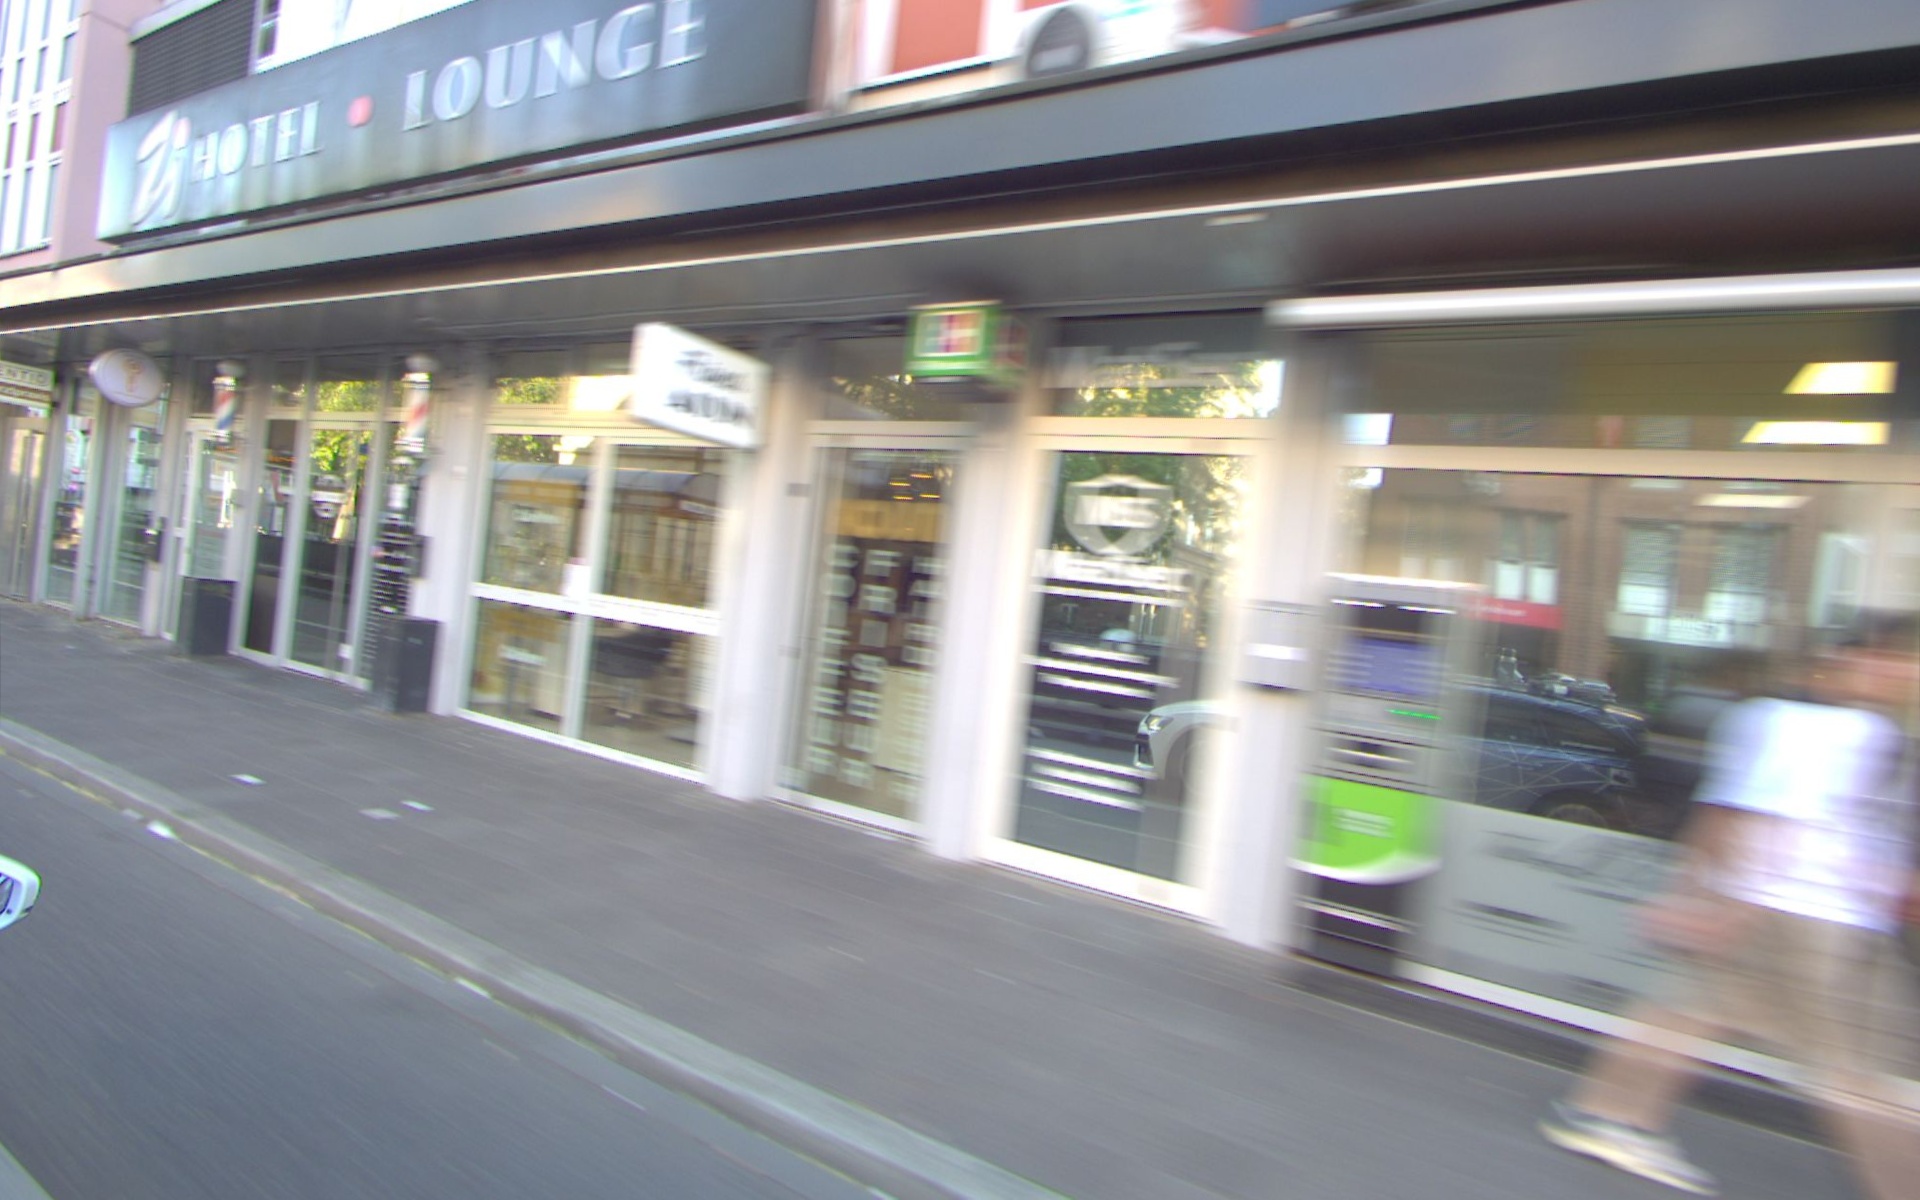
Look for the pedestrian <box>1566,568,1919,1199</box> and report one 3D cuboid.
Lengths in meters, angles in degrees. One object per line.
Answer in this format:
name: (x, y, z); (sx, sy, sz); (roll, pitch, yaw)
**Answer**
pedestrian: (2.395, 0.838, 2.804); (1.044, 1.745, 0.798); (6, 3, 32)
